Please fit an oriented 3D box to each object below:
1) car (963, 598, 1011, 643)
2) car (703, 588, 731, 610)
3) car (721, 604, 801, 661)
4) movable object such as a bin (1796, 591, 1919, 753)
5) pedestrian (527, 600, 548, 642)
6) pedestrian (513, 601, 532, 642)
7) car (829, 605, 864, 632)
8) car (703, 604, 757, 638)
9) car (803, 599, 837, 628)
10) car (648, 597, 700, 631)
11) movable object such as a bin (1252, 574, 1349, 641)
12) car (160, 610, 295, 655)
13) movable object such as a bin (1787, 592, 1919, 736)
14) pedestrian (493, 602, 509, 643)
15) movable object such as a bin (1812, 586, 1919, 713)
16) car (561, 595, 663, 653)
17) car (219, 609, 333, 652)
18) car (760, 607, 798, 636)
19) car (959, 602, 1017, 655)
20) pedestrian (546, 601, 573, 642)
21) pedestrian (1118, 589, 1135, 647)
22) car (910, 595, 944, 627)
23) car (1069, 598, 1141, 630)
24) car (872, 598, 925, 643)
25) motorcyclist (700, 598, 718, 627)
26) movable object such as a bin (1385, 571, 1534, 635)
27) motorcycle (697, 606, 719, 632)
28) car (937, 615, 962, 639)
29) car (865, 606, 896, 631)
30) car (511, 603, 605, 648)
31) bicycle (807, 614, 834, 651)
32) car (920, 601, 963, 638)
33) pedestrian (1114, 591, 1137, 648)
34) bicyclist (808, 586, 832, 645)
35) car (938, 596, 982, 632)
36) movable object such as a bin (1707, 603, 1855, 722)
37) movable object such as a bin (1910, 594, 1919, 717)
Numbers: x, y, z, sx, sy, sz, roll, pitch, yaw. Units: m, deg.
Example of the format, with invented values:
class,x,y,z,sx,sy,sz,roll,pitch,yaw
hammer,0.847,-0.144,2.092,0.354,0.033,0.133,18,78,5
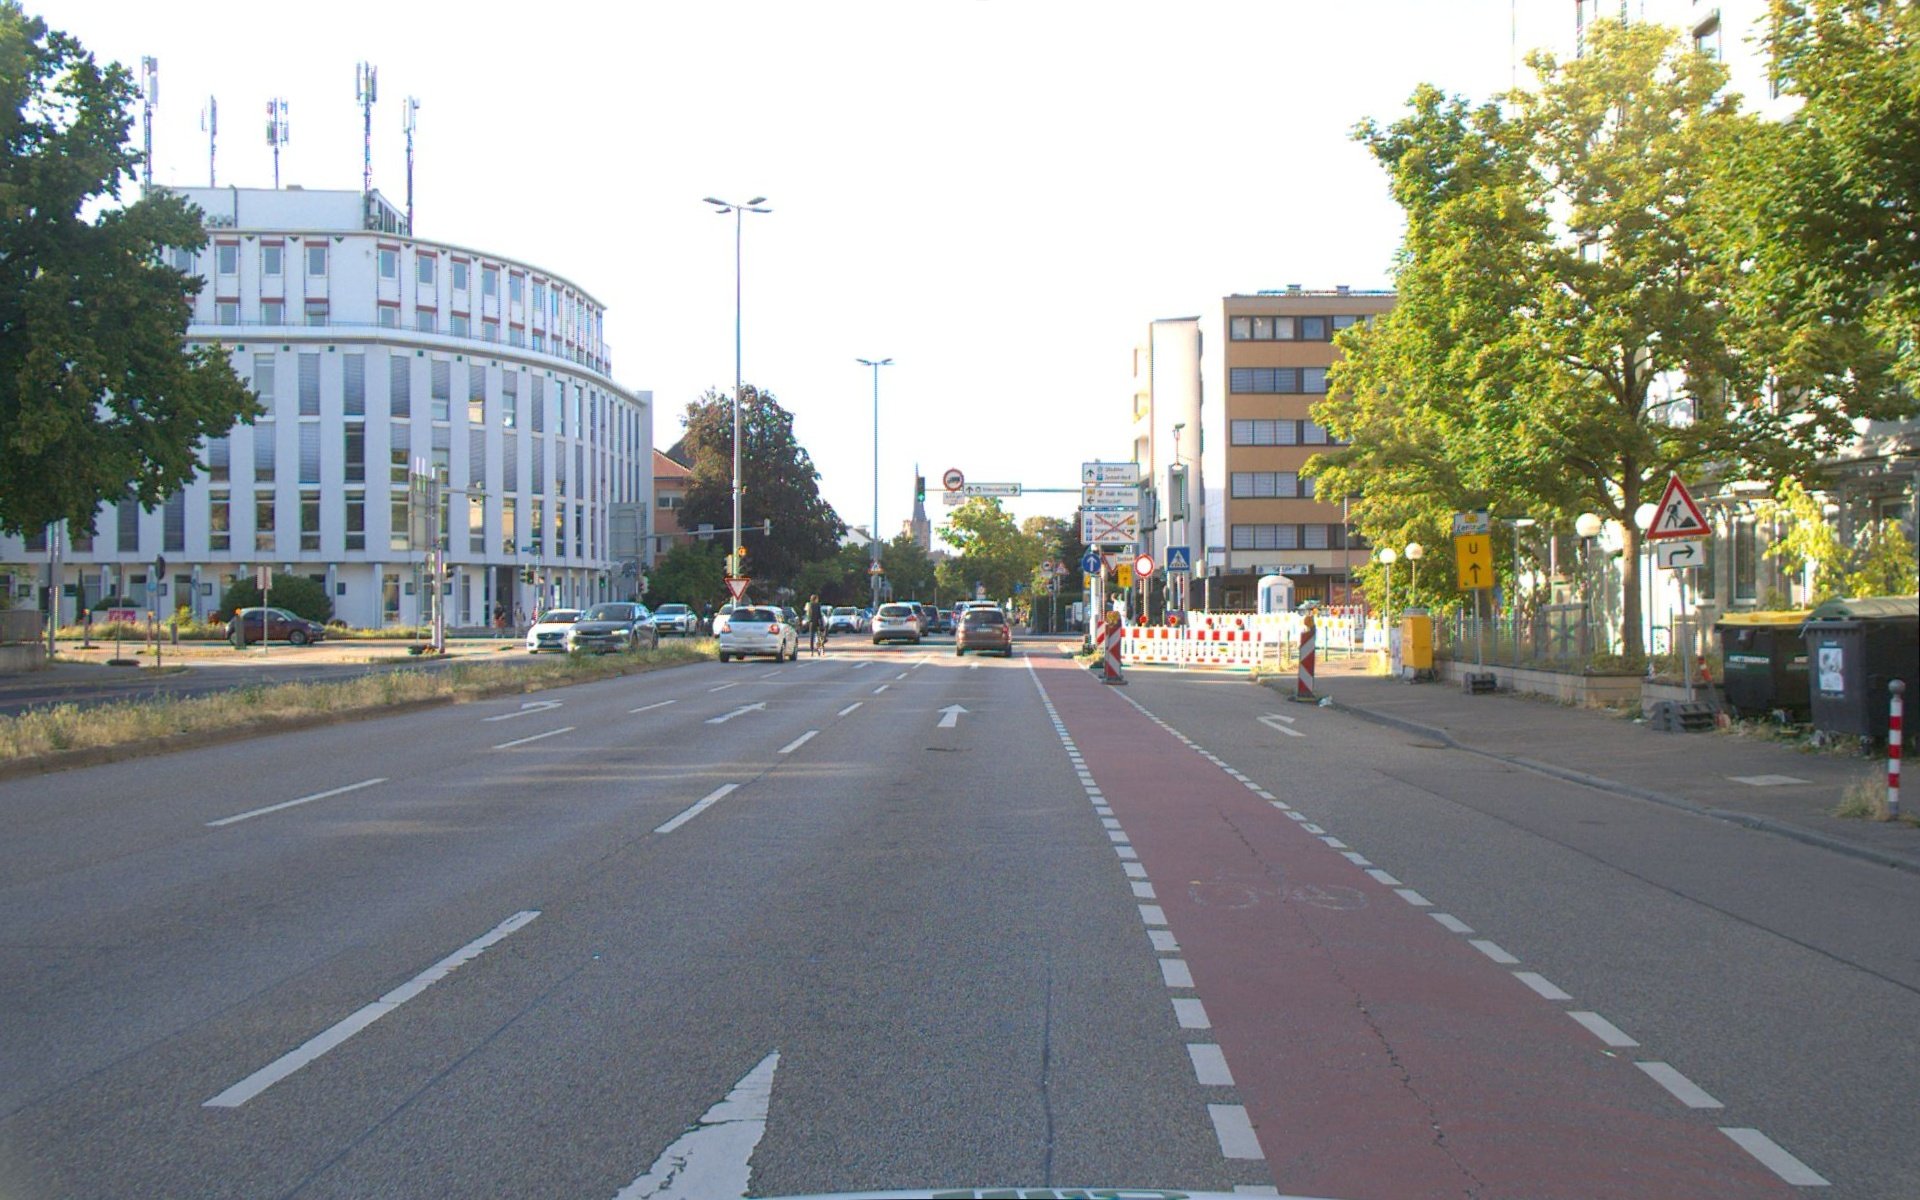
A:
class,x,y,z,sx,sy,sz,roll,pitch,yaw
car,1.008,0.789,64.196,1.782,1.668,4.000,-1,0,0
car,-17.739,-0.063,120.911,1.805,1.599,3.995,0,0,-6
car,-5.402,0.849,45.274,1.650,1.482,4.000,0,0,1
movable object such as a bin,9.122,0.712,16.345,1.070,1.534,1.254,0,-3,1
pedestrian,-19.519,0.964,76.403,0.646,1.901,0.779,-1,-1,13
pedestrian,-20.382,0.999,77.112,0.744,1.874,0.817,0,-1,-9
car,-6.504,1.038,95.203,1.810,1.487,4.048,-1,0,-2
car,-9.805,0.880,70.818,1.650,1.417,4.181,0,0,1
car,-9.057,0.869,107.166,1.876,1.843,4.716,-1,0,-2
car,-13.327,0.628,77.224,1.650,1.525,4.513,0,0,-1
movable object such as a bin,12.516,0.276,60.917,3.260,2.425,1.529,-1,-1,0
car,-27.896,1.212,63.086,4.253,1.657,2.001,-1,0,5
movable object such as a bin,9.998,0.670,18.011,1.301,1.511,1.208,0,0,-9
pedestrian,-21.353,1.036,76.975,0.648,1.891,0.776,0,-1,-11
movable object such as a bin,11.193,0.590,20.185,1.080,1.511,0.956,-1,-1,0
car,-10.217,0.685,48.951,1.952,1.606,4.899,0,0,0
car,-27.118,1.221,65.633,3.732,1.557,1.862,-2,-2,-2
car,-9.812,1.176,89.869,1.624,1.521,4.000,0,0,0
car,0.902,0.860,51.571,1.712,1.591,4.050,-1,0,2
pedestrian,-18.495,0.988,76.383,0.615,1.901,1.125,-1,-1,29
pedestrian,5.451,0.590,54.015,0.509,1.901,0.615,-1,-1,3
car,-1.761,0.578,89.770,1.630,1.686,4.001,-1,0,2
car,9.014,0.881,103.063,4.274,1.910,2.000,-1,-1,0
car,-2.272,0.754,62.269,1.712,1.591,4.050,-1,0,2
motorcyclist,-13.039,0.648,85.827,0.754,1.444,1.238,0,0,-1
movable object such as a bin,20.277,0.124,67.286,5.241,2.534,2.548,-1,-1,-2
motorcycle,-13.031,0.986,85.647,0.754,1.307,2.842,0,0,-1
car,-0.763,2.008,123.120,1.630,1.686,4.001,-1,0,2
car,-4.847,1.116,100.960,1.810,1.487,4.048,-1,0,-2
car,-13.574,0.834,56.108,1.952,1.438,4.444,-1,0,2
bicycle,-4.240,0.976,50.365,0.685,1.119,2.257,0,0,-2
car,-0.791,0.834,73.662,1.712,1.591,4.050,-1,0,2
pedestrian,5.346,0.630,53.301,0.725,1.831,0.716,-1,-1,6
bicyclist,-4.246,0.467,50.202,0.677,1.758,0.987,0,-1,-2
car,0.004,0.688,77.904,1.953,1.534,3.999,-2,-2,0
movable object such as a bin,9.809,0.729,19.788,1.193,1.367,1.051,0,0,-14
movable object such as a bin,12.303,0.672,19.963,1.102,1.511,0.956,-1,-1,1
